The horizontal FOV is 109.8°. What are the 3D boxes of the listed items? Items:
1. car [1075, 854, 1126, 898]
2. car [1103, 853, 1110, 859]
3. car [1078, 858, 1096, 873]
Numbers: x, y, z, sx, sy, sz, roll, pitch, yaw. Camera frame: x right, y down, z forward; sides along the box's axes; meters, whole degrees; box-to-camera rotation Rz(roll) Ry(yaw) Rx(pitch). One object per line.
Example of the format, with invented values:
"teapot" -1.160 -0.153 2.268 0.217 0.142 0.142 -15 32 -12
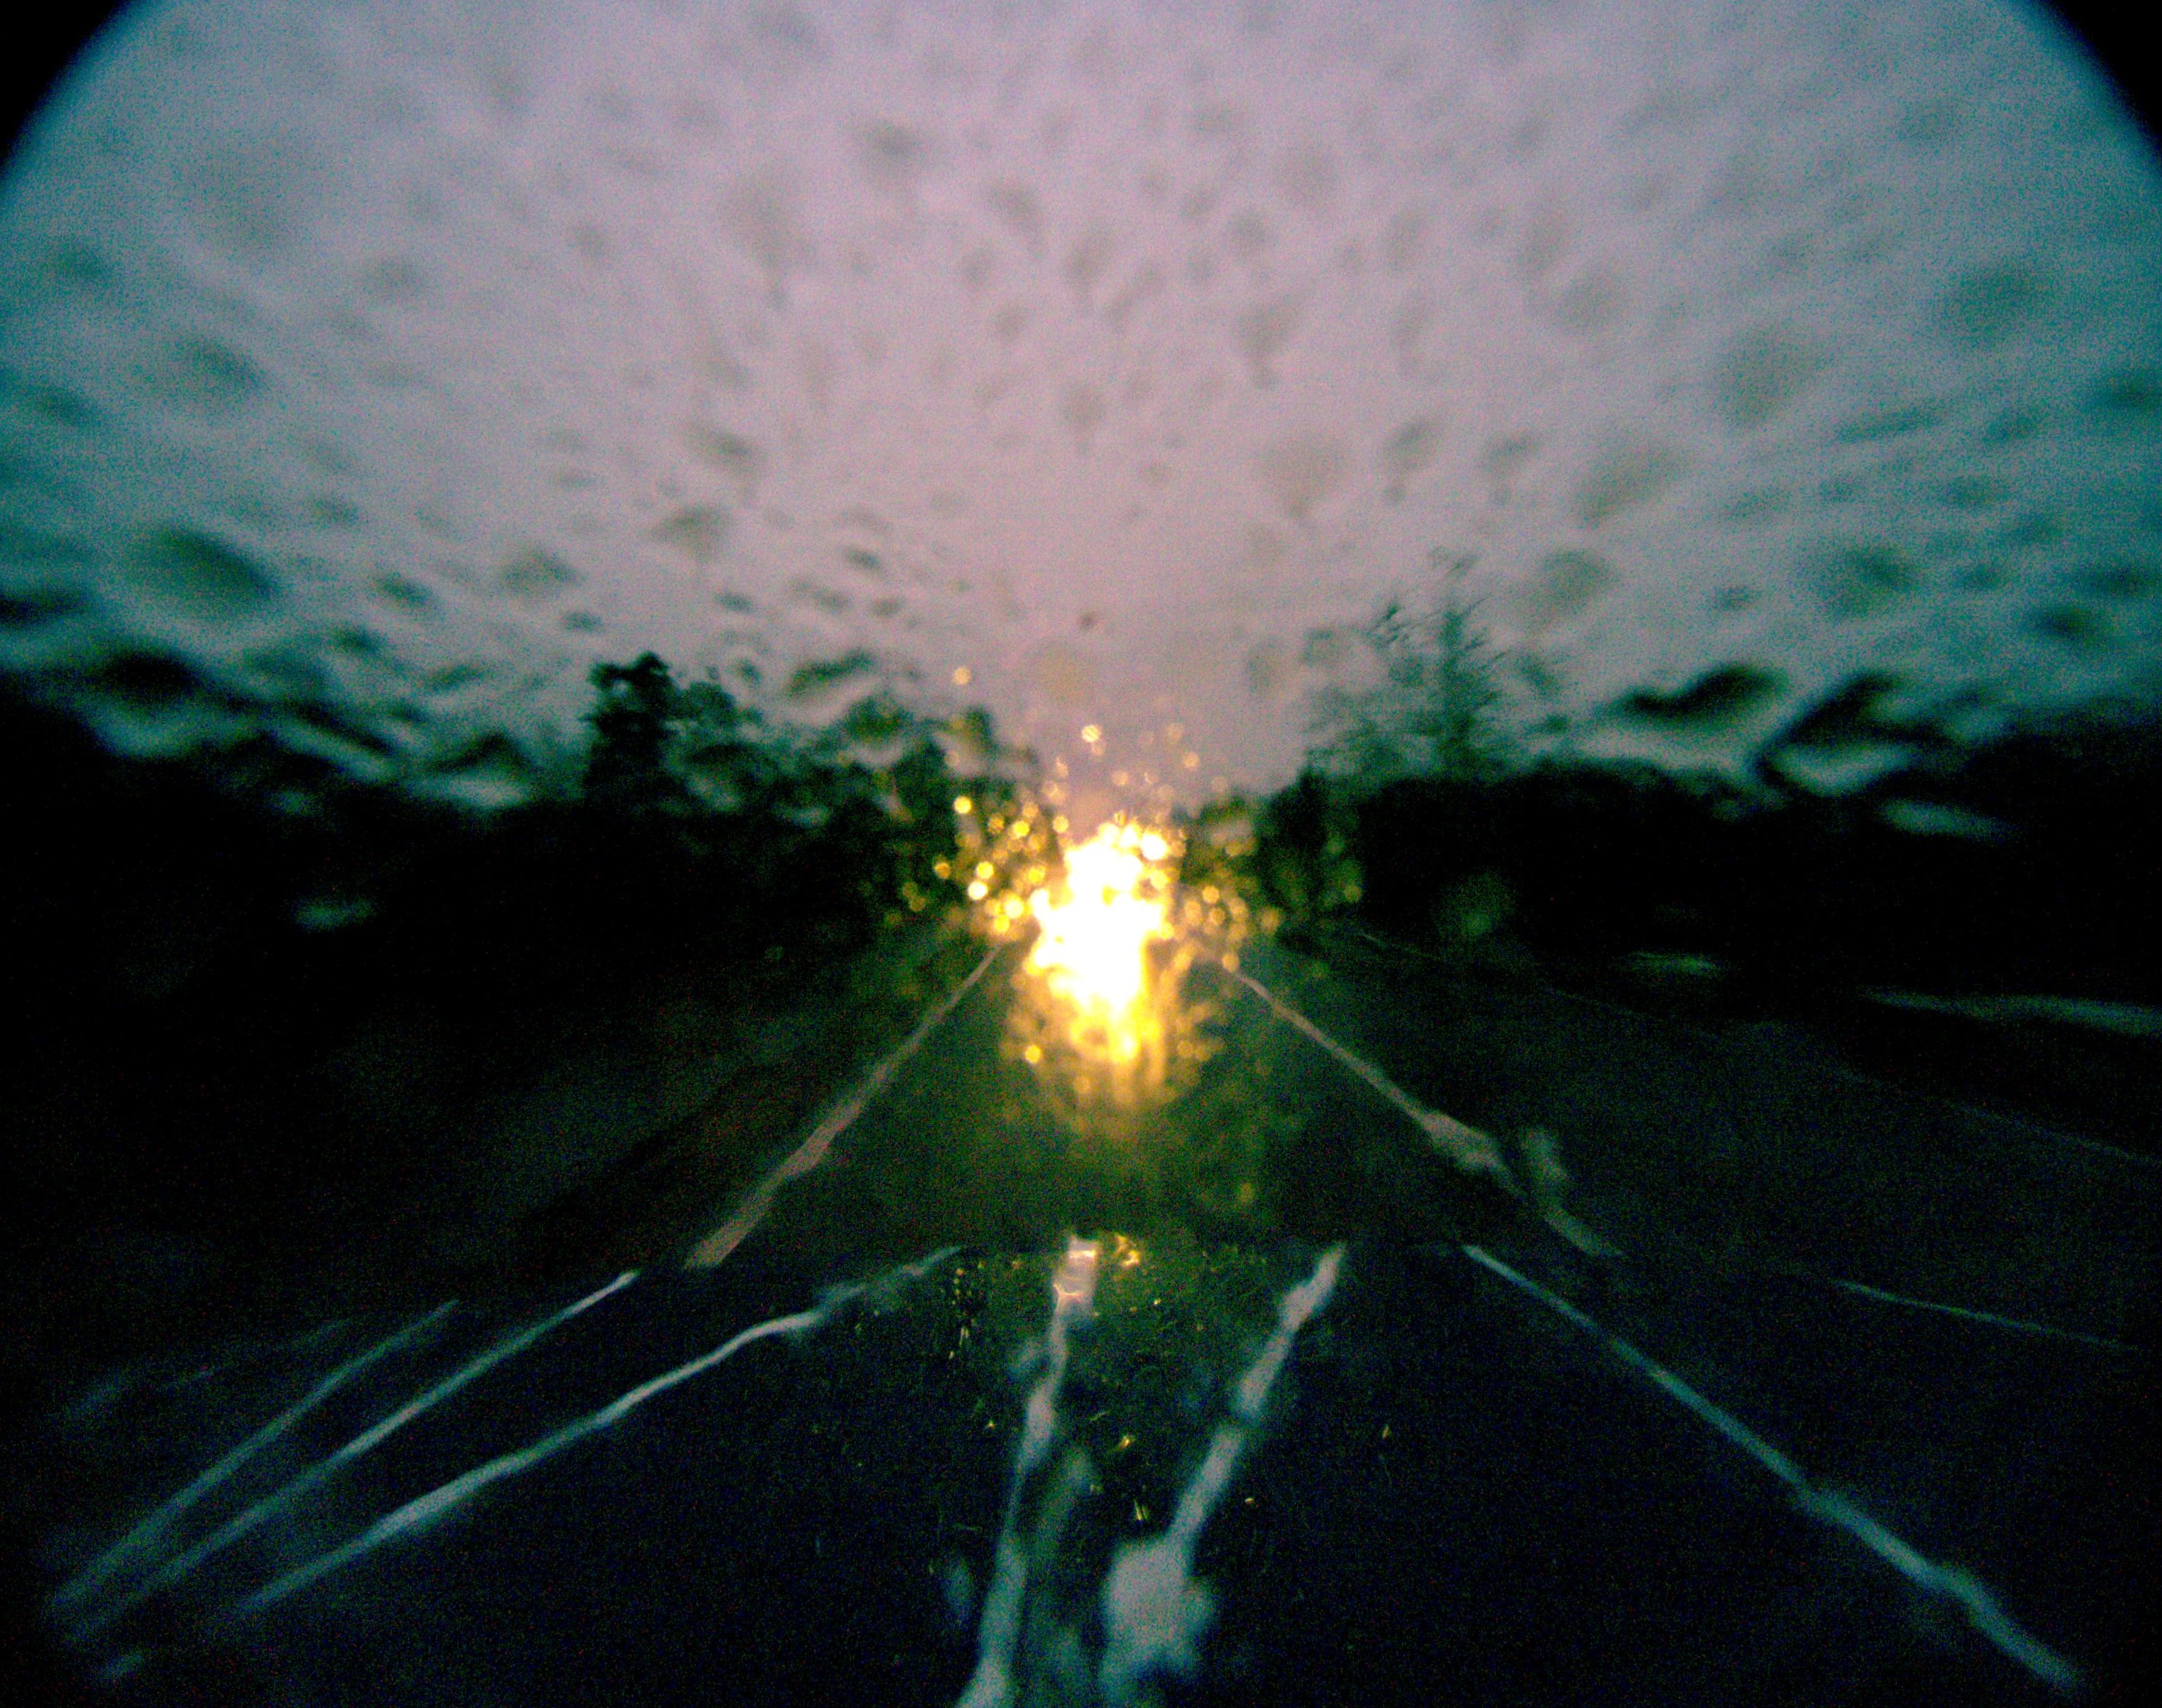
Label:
"car" 0.759 0.815 30.494 1.860 1.604 4.000 -1 0 1
"car" 6.211 0.430 186.126 1.636 1.449 3.982 1 0 0
"car" 0.764 1.341 90.856 1.998 1.612 4.000 -2 1 1
